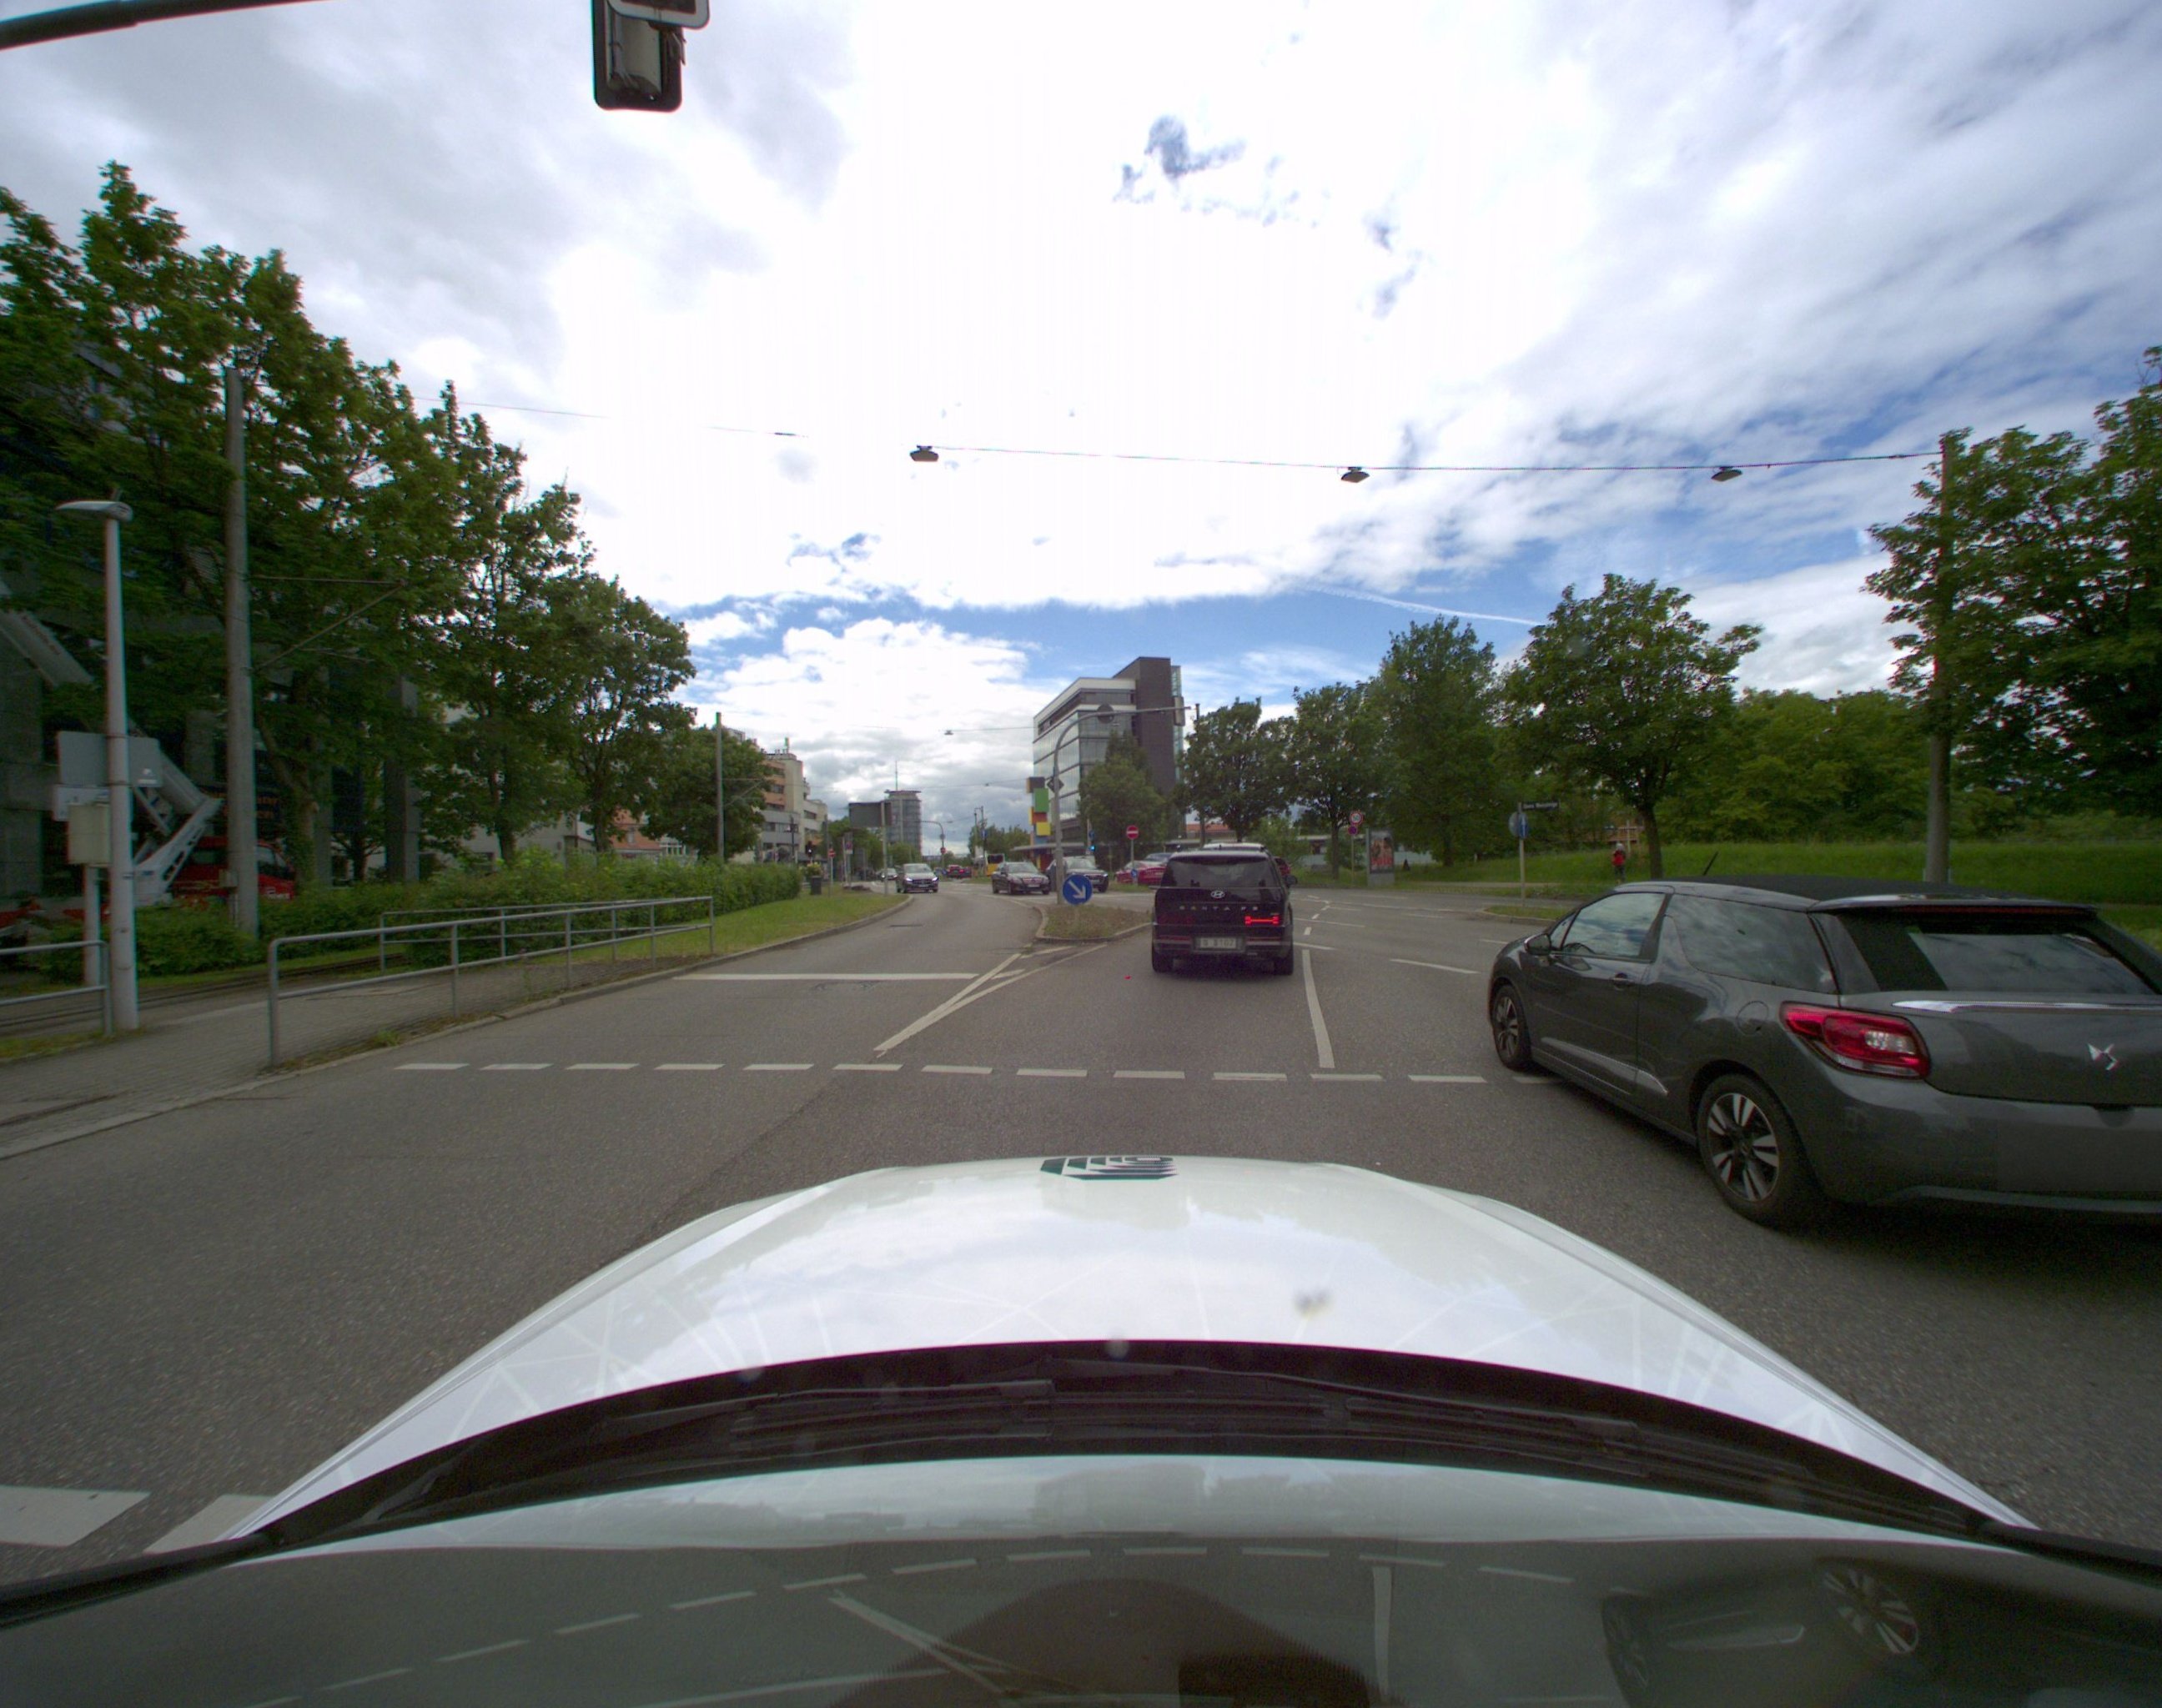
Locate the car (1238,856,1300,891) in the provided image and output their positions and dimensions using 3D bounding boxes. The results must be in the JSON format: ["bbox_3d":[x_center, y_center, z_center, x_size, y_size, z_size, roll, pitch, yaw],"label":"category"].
[{"bbox_3d":[8.656,0.875,37.855,1.742,1.481,3.712,-1,0,-5],"label":"car"}]

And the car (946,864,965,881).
[{"bbox_3d":[-14.937,2.187,96.869,1.905,1.859,4.686,0,-1,-14],"label":"car"}]

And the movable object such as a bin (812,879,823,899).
[{"bbox_3d":[-14.312,1.887,44.241,0.565,1.012,0.833,-1,-1,-20],"label":"movable object such as a bin"}]

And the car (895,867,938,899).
[{"bbox_3d":[-8.894,1.526,43.859,1.788,1.537,4.369,0,0,-18],"label":"car"}]

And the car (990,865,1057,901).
[{"bbox_3d":[-2.631,1.224,36.201,1.789,1.425,4.365,0,0,-20],"label":"car"}]

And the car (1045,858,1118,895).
[{"bbox_3d":[-0.061,0.994,37.938,1.896,1.564,4.363,0,0,-22],"label":"car"}]

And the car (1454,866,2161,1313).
[{"bbox_3d":[3.777,0.824,4.768,1.692,1.461,4.069,-1,-1,6],"label":"car"}]

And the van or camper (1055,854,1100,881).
[{"bbox_3d":[-0.309,1.006,61.689,2.000,1.918,4.379,-1,0,-20],"label":"van or camper"}]

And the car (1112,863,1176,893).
[{"bbox_3d":[3.161,1.173,41.800,1.877,1.418,4.418,0,-1,-16],"label":"car"}]

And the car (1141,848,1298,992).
[{"bbox_3d":[2.255,0.812,12.161,1.888,1.731,4.464,-1,-1,15],"label":"car"}]

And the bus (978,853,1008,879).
[{"bbox_3d":[-11.976,1.677,109.968,2.969,3.116,9.202,-3,-1,-13],"label":"bus"}]

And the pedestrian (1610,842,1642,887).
[{"bbox_3d":[19.916,0.383,29.769,0.543,1.603,0.697,-6,2,-22],"label":"pedestrian"}]

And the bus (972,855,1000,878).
[{"bbox_3d":[-14.028,1.912,119.212,2.955,3.111,9.931,-3,-1,-13],"label":"bus"}]

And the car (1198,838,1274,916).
[{"bbox_3d":[4.373,0.608,23.095,1.890,1.969,4.649,-1,-1,10],"label":"car"}]

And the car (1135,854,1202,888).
[{"bbox_3d":[5.027,0.971,47.600,1.910,1.859,4.674,0,-1,-22],"label":"car"}]

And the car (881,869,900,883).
[{"bbox_3d":[-20.563,2.380,87.711,1.802,1.455,4.587,-2,-1,-15],"label":"car"}]

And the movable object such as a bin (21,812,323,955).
[{"bbox_3d":[-18.139,0.550,16.623,1.905,2.531,4.112,1,-1,-10],"label":"movable object such as a bin"}]
